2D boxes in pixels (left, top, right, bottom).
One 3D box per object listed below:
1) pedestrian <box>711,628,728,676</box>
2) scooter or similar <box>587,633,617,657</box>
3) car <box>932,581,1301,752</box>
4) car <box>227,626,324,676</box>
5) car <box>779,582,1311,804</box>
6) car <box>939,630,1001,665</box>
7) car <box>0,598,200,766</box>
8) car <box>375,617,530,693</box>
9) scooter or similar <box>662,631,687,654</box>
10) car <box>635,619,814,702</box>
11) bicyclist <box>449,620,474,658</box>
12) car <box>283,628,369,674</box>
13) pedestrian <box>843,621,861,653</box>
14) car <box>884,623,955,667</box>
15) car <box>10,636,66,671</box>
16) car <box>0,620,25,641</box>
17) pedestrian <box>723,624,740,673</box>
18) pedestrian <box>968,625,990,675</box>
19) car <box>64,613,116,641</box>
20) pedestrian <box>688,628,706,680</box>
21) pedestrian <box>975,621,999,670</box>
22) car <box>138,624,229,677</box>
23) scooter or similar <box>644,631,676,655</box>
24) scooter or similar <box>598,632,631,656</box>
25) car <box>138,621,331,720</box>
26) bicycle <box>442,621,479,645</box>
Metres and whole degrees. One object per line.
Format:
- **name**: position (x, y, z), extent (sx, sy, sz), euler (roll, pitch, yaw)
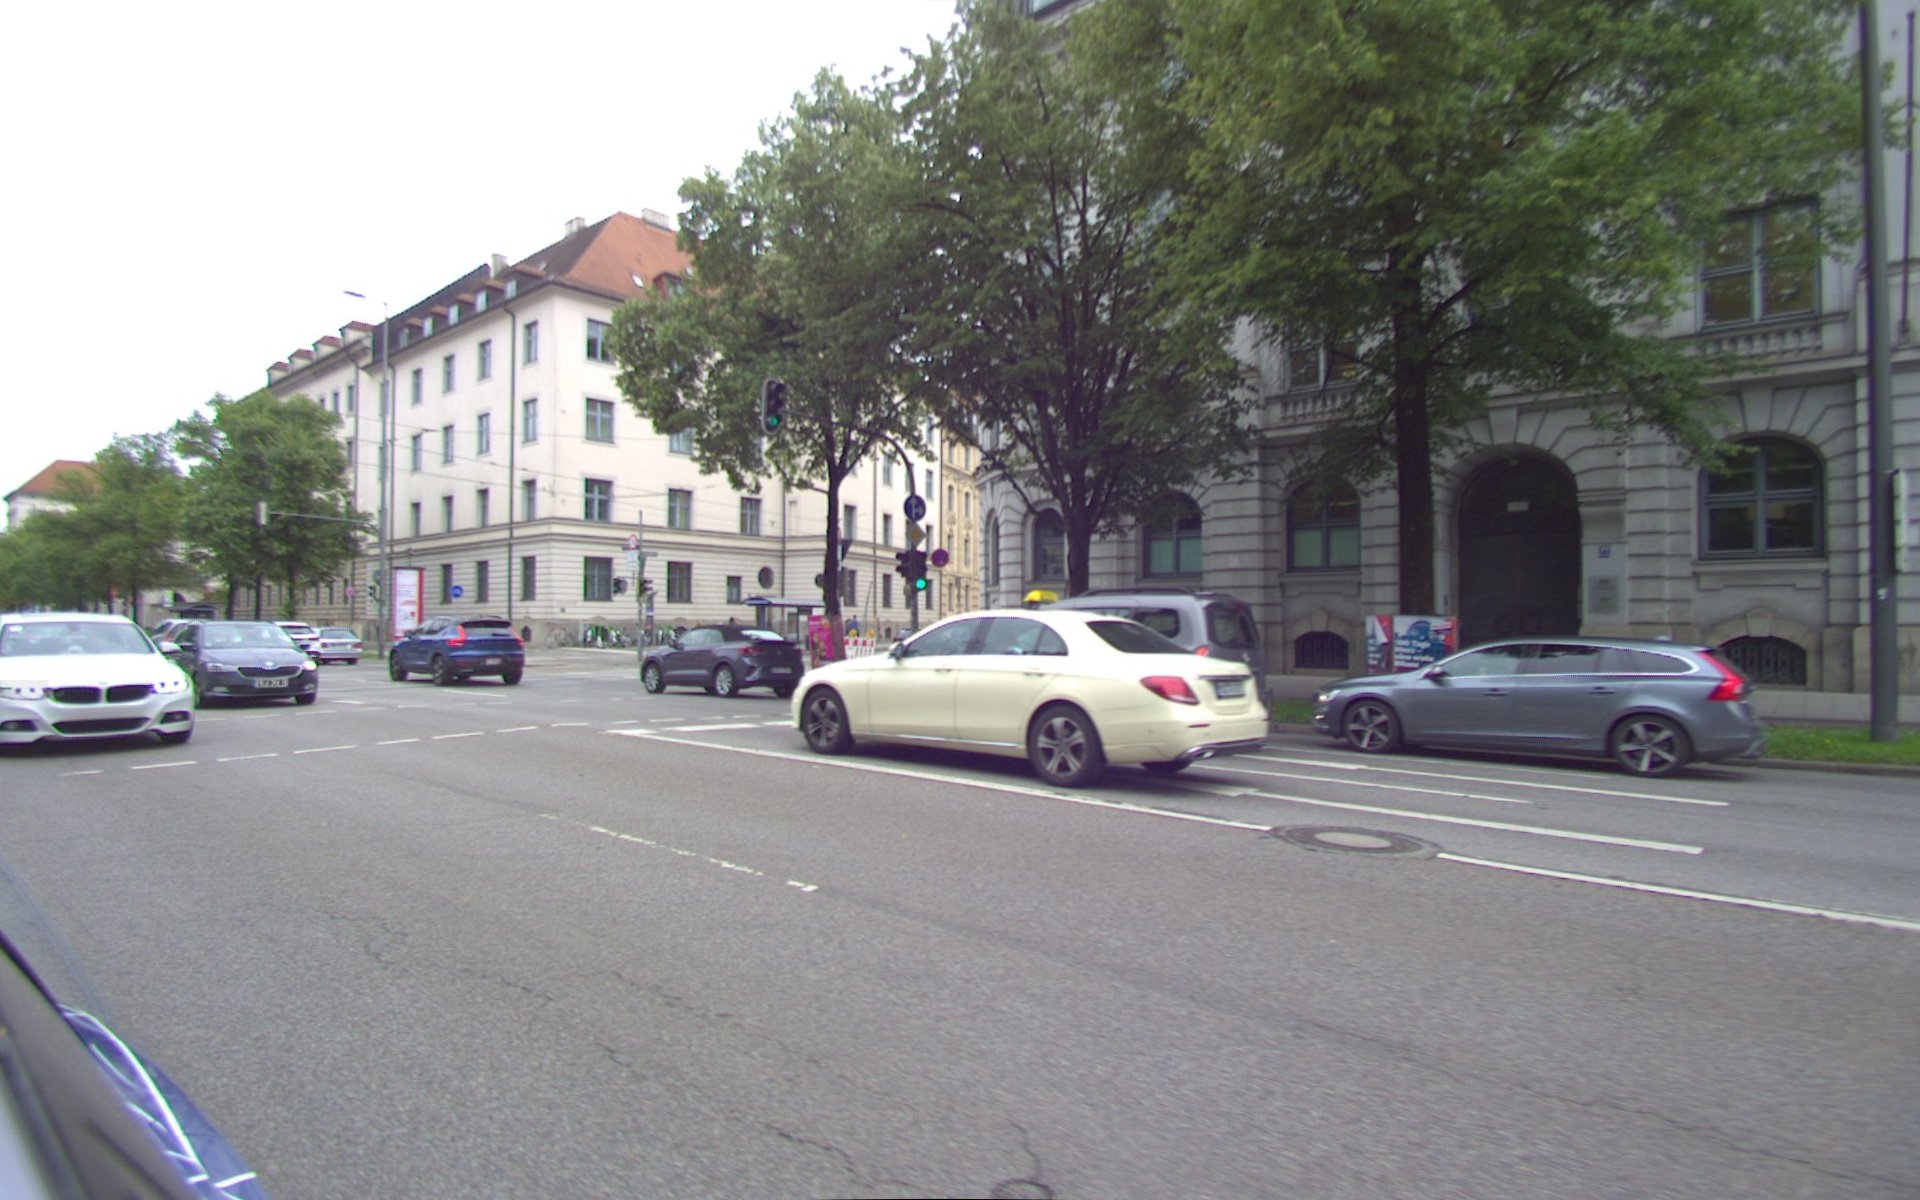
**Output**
- **pedestrian**: position (-9.046, 1.947, 38.022), extent (0.494, 1.752, 0.471), euler (1, -1, -30)
- **scooter or similar**: position (-17.640, 2.209, 49.805), extent (0.680, 1.127, 1.950), euler (-1, 0, -43)
- **car**: position (1.796, 0.648, 12.569), extent (4.260, 1.763, 1.808), euler (1, 1, 43)
- **car**: position (-23.639, 1.731, 34.908), extent (3.997, 1.608, 1.726), euler (-1, -3, 41)
- **car**: position (0.545, 0.666, 9.387), extent (4.822, 1.554, 1.808), euler (0, -1, 42)
- **car**: position (0.507, 2.177, 47.226), extent (1.682, 1.530, 3.546), euler (-1, -1, 22)
- **car**: position (-10.840, 0.822, 12.109), extent (5.023, 1.649, 1.774), euler (0, -1, 41)
- **car**: position (-12.315, 1.269, 24.453), extent (4.348, 1.668, 1.820), euler (-1, -2, 42)
- **scooter or similar**: position (-14.927, 2.202, 52.905), extent (1.546, 1.127, 0.539), euler (-1, 0, 42)
- **car**: position (-5.115, 1.219, 21.729), extent (4.055, 1.588, 1.716), euler (-1, -1, 42)
- **bicyclist**: position (-21.459, 1.677, 43.531), extent (0.892, 1.590, 0.653), euler (-1, 0, 42)
- **car**: position (-24.376, 1.923, 38.853), extent (4.055, 1.588, 1.716), euler (-1, -1, 42)
- **pedestrian**: position (-6.493, 2.199, 60.714), extent (0.660, 1.866, 0.797), euler (-1, 0, 42)
- **car**: position (-1.635, 1.842, 42.465), extent (1.682, 1.744, 3.546), euler (-1, -1, 22)
- **car**: position (-46.183, 2.643, 50.667), extent (3.944, 1.583, 1.617), euler (-1, -1, 41)
- **car**: position (-74.864, 2.368, 79.500), extent (4.163, 1.652, 1.661), euler (-1, -2, 42)
- **pedestrian**: position (-8.761, 1.858, 38.787), extent (0.494, 1.869, 0.471), euler (1, -1, -30)
- **pedestrian**: position (0.784, 2.053, 41.677), extent (0.638, 2.029, 0.775), euler (-1, 0, 20)
- **car**: position (-50.327, 1.550, 58.497), extent (4.225, 1.541, 1.734), euler (0, -1, 42)
- **pedestrian**: position (-9.745, 1.988, 37.506), extent (0.494, 1.869, 0.529), euler (1, -1, -30)
- **pedestrian**: position (1.158, 1.908, 42.866), extent (0.797, 2.029, 0.775), euler (-1, 0, 20)
- **car**: position (-25.127, 1.584, 32.702), extent (3.944, 1.583, 1.617), euler (-1, -1, 41)
- **scooter or similar**: position (-15.559, 2.215, 52.428), extent (1.901, 1.166, 0.681), euler (-1, 0, 42)
- **scooter or similar**: position (-17.291, 2.188, 50.598), extent (1.947, 1.127, 0.681), euler (-1, 0, 42)
- **car**: position (-12.607, 1.109, 17.485), extent (4.273, 1.458, 1.774), euler (0, -1, 41)
- **bicycle**: position (-21.483, 1.405, 43.533), extent (2.181, 0.995, 0.655), euler (-1, 0, 42)
